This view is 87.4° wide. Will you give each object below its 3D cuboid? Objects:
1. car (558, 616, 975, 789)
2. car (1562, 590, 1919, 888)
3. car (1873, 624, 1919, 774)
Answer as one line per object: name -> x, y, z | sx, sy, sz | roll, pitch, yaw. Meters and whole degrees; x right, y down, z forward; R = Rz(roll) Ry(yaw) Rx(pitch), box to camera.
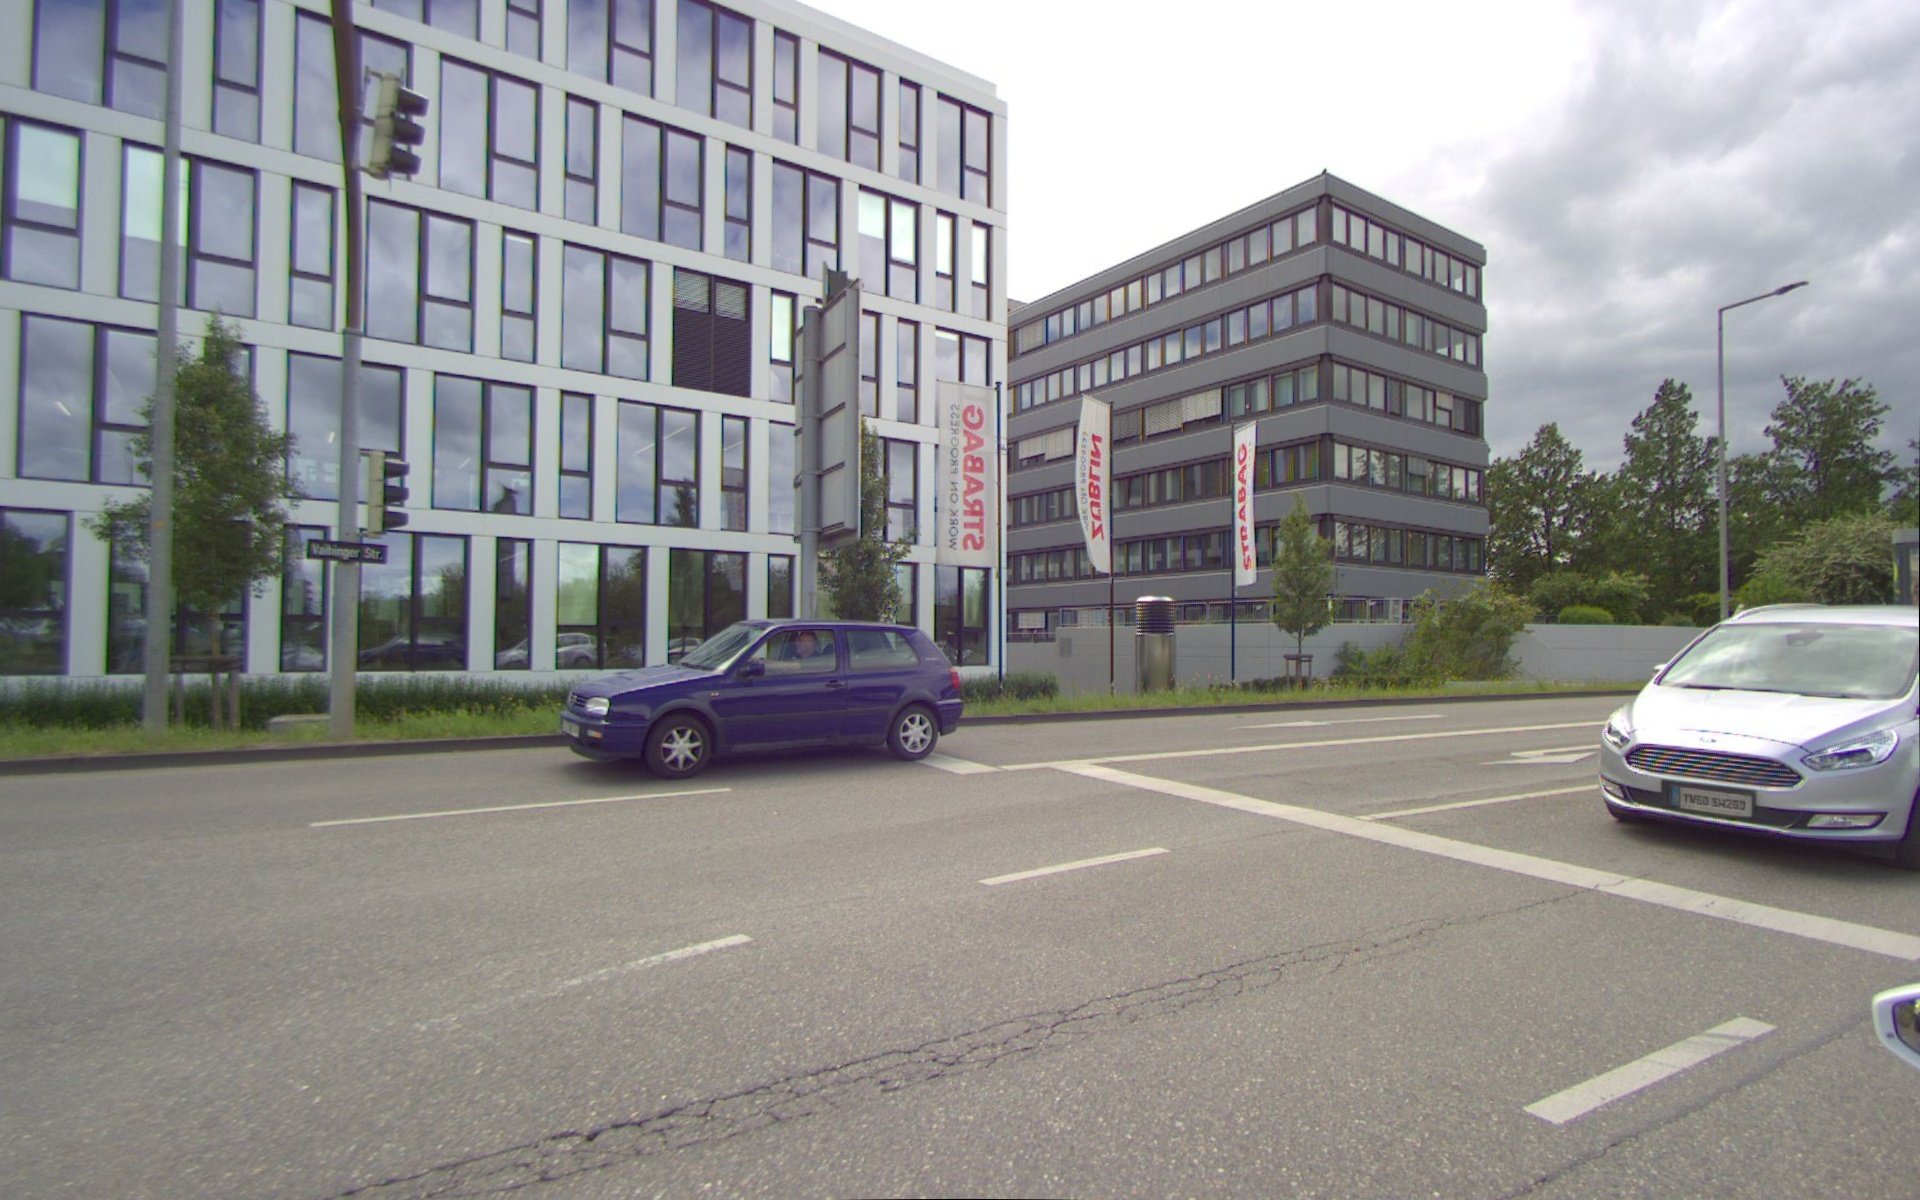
car -> -1.868, 0.905, 10.156 | 3.854, 1.438, 1.545 | 1, -1, -34
car -> 6.796, 0.832, 7.787 | 4.594, 1.709, 1.810 | 1, 0, -33
car -> 11.800, 1.051, 10.917 | 4.036, 1.538, 1.652 | 1, 0, -30
